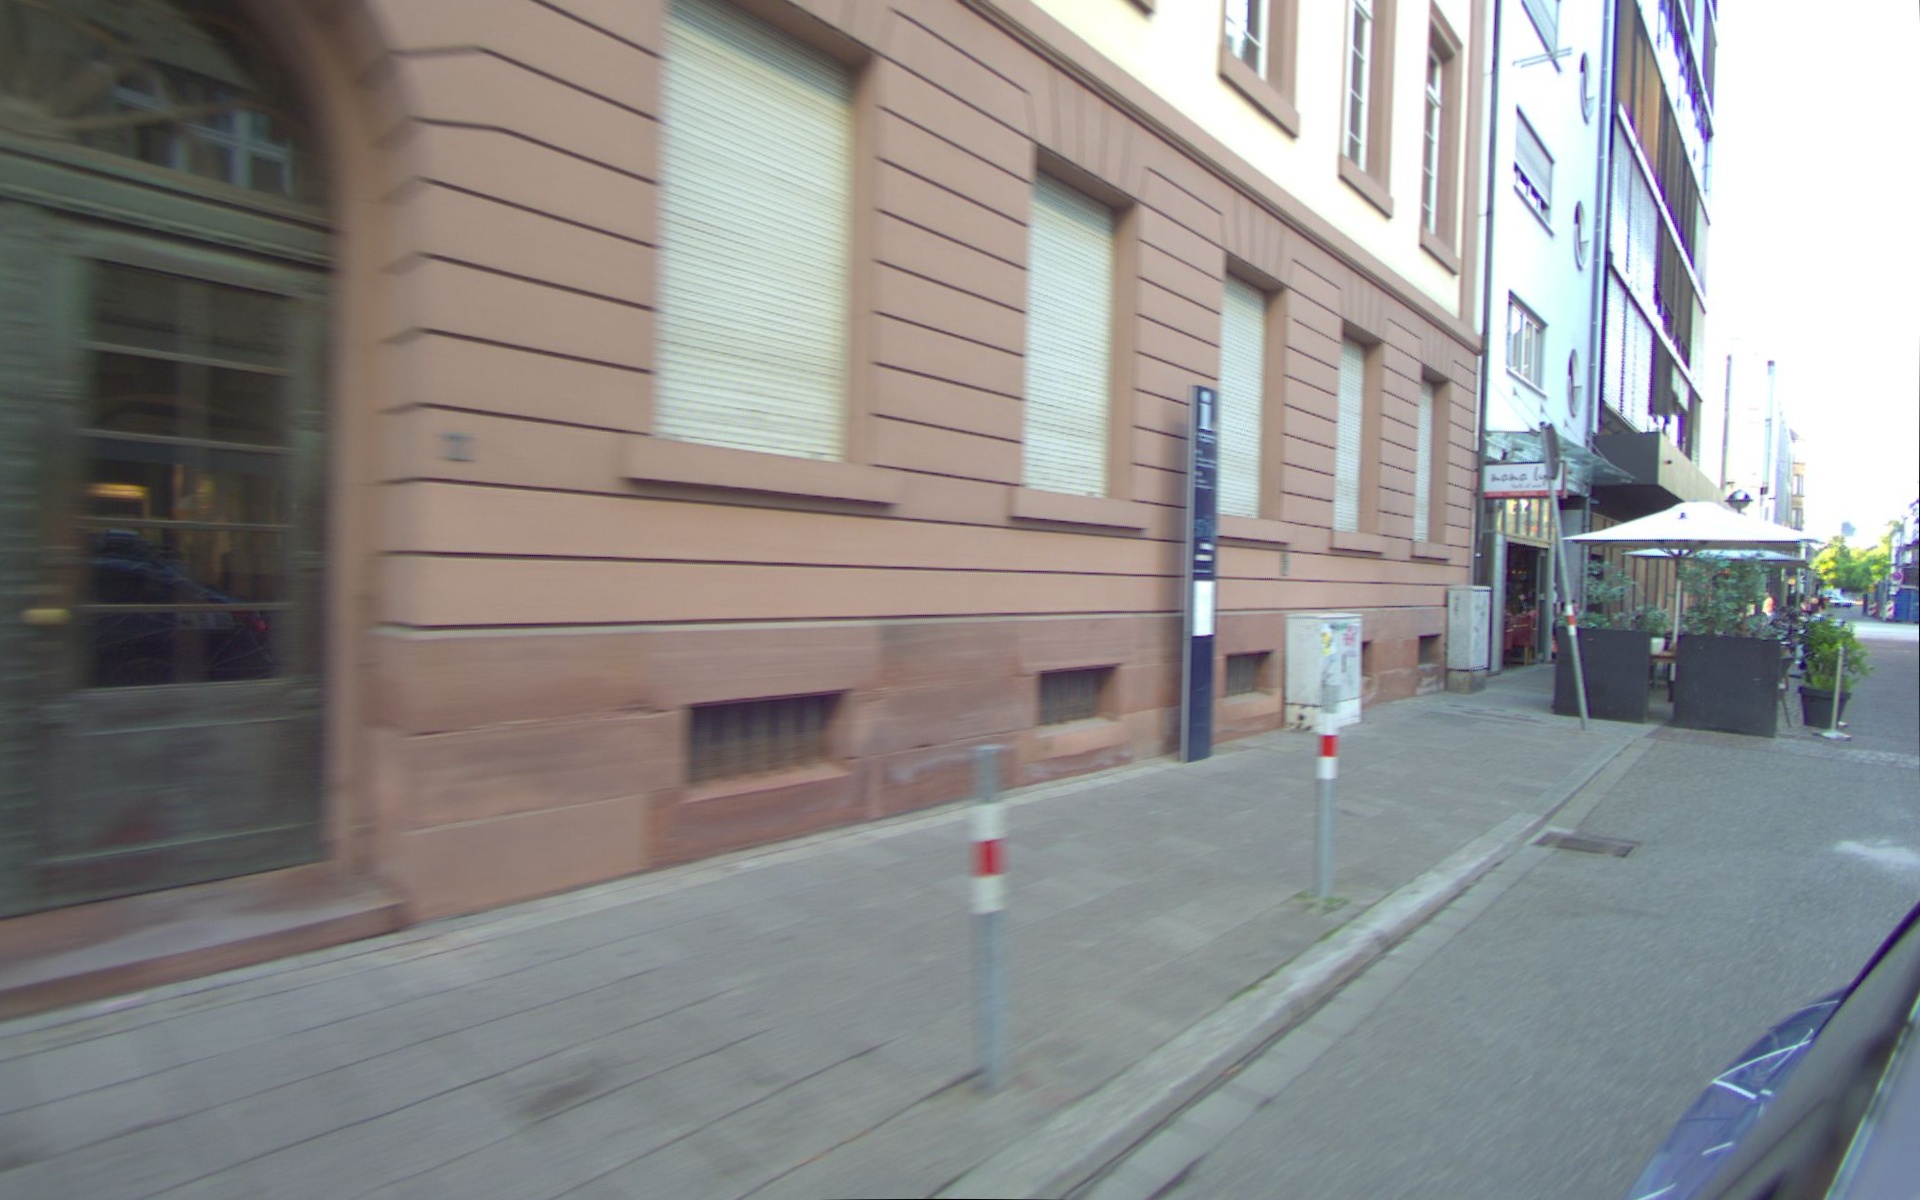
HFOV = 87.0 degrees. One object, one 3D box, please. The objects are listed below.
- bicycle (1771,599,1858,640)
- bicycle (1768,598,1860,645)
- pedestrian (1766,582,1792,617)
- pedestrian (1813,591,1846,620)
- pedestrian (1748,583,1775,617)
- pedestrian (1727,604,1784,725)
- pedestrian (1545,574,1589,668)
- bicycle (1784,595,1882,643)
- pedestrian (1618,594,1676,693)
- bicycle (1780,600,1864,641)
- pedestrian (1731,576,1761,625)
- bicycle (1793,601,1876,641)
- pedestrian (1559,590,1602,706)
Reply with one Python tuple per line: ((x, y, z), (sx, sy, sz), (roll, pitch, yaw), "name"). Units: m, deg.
((26.533, 0.589, 31.454), (2.032, 1.182, 0.610), (3, 2, 41), "bicycle")
((25.838, 0.635, 30.660), (2.033, 1.181, 0.610), (7, 5, 41), "bicycle")
((40.825, -0.027, 50.446), (0.754, 1.658, 0.666), (1, 2, 13), "pedestrian")
((48.774, 0.296, 56.772), (0.973, 1.592, 0.921), (1, 1, -5), "pedestrian")
((39.414, 0.004, 49.754), (0.623, 1.641, 0.784), (1, 2, -7), "pedestrian")
((8.422, 0.671, 10.726), (0.397, 1.228, 0.379), (2, 1, 32), "pedestrian")
((11.938, 0.391, 19.902), (0.637, 1.794, 0.594), (2, 2, 37), "pedestrian")
((25.099, 0.525, 29.125), (2.033, 1.181, 0.656), (6, 4, 41), "bicycle")
((10.390, 0.634, 15.292), (0.574, 1.437, 0.855), (2, 2, 42), "pedestrian")
((28.360, 0.663, 33.338), (2.032, 1.182, 0.610), (4, 3, 41), "bicycle")
((30.100, 0.010, 38.778), (0.802, 1.859, 0.664), (2, 2, 44), "pedestrian")
((29.190, 0.691, 33.814), (2.032, 1.231, 0.610), (3, 2, 41), "bicycle")
((7.311, 0.547, 11.940), (0.359, 1.322, 0.490), (2, 1, 27), "pedestrian")
